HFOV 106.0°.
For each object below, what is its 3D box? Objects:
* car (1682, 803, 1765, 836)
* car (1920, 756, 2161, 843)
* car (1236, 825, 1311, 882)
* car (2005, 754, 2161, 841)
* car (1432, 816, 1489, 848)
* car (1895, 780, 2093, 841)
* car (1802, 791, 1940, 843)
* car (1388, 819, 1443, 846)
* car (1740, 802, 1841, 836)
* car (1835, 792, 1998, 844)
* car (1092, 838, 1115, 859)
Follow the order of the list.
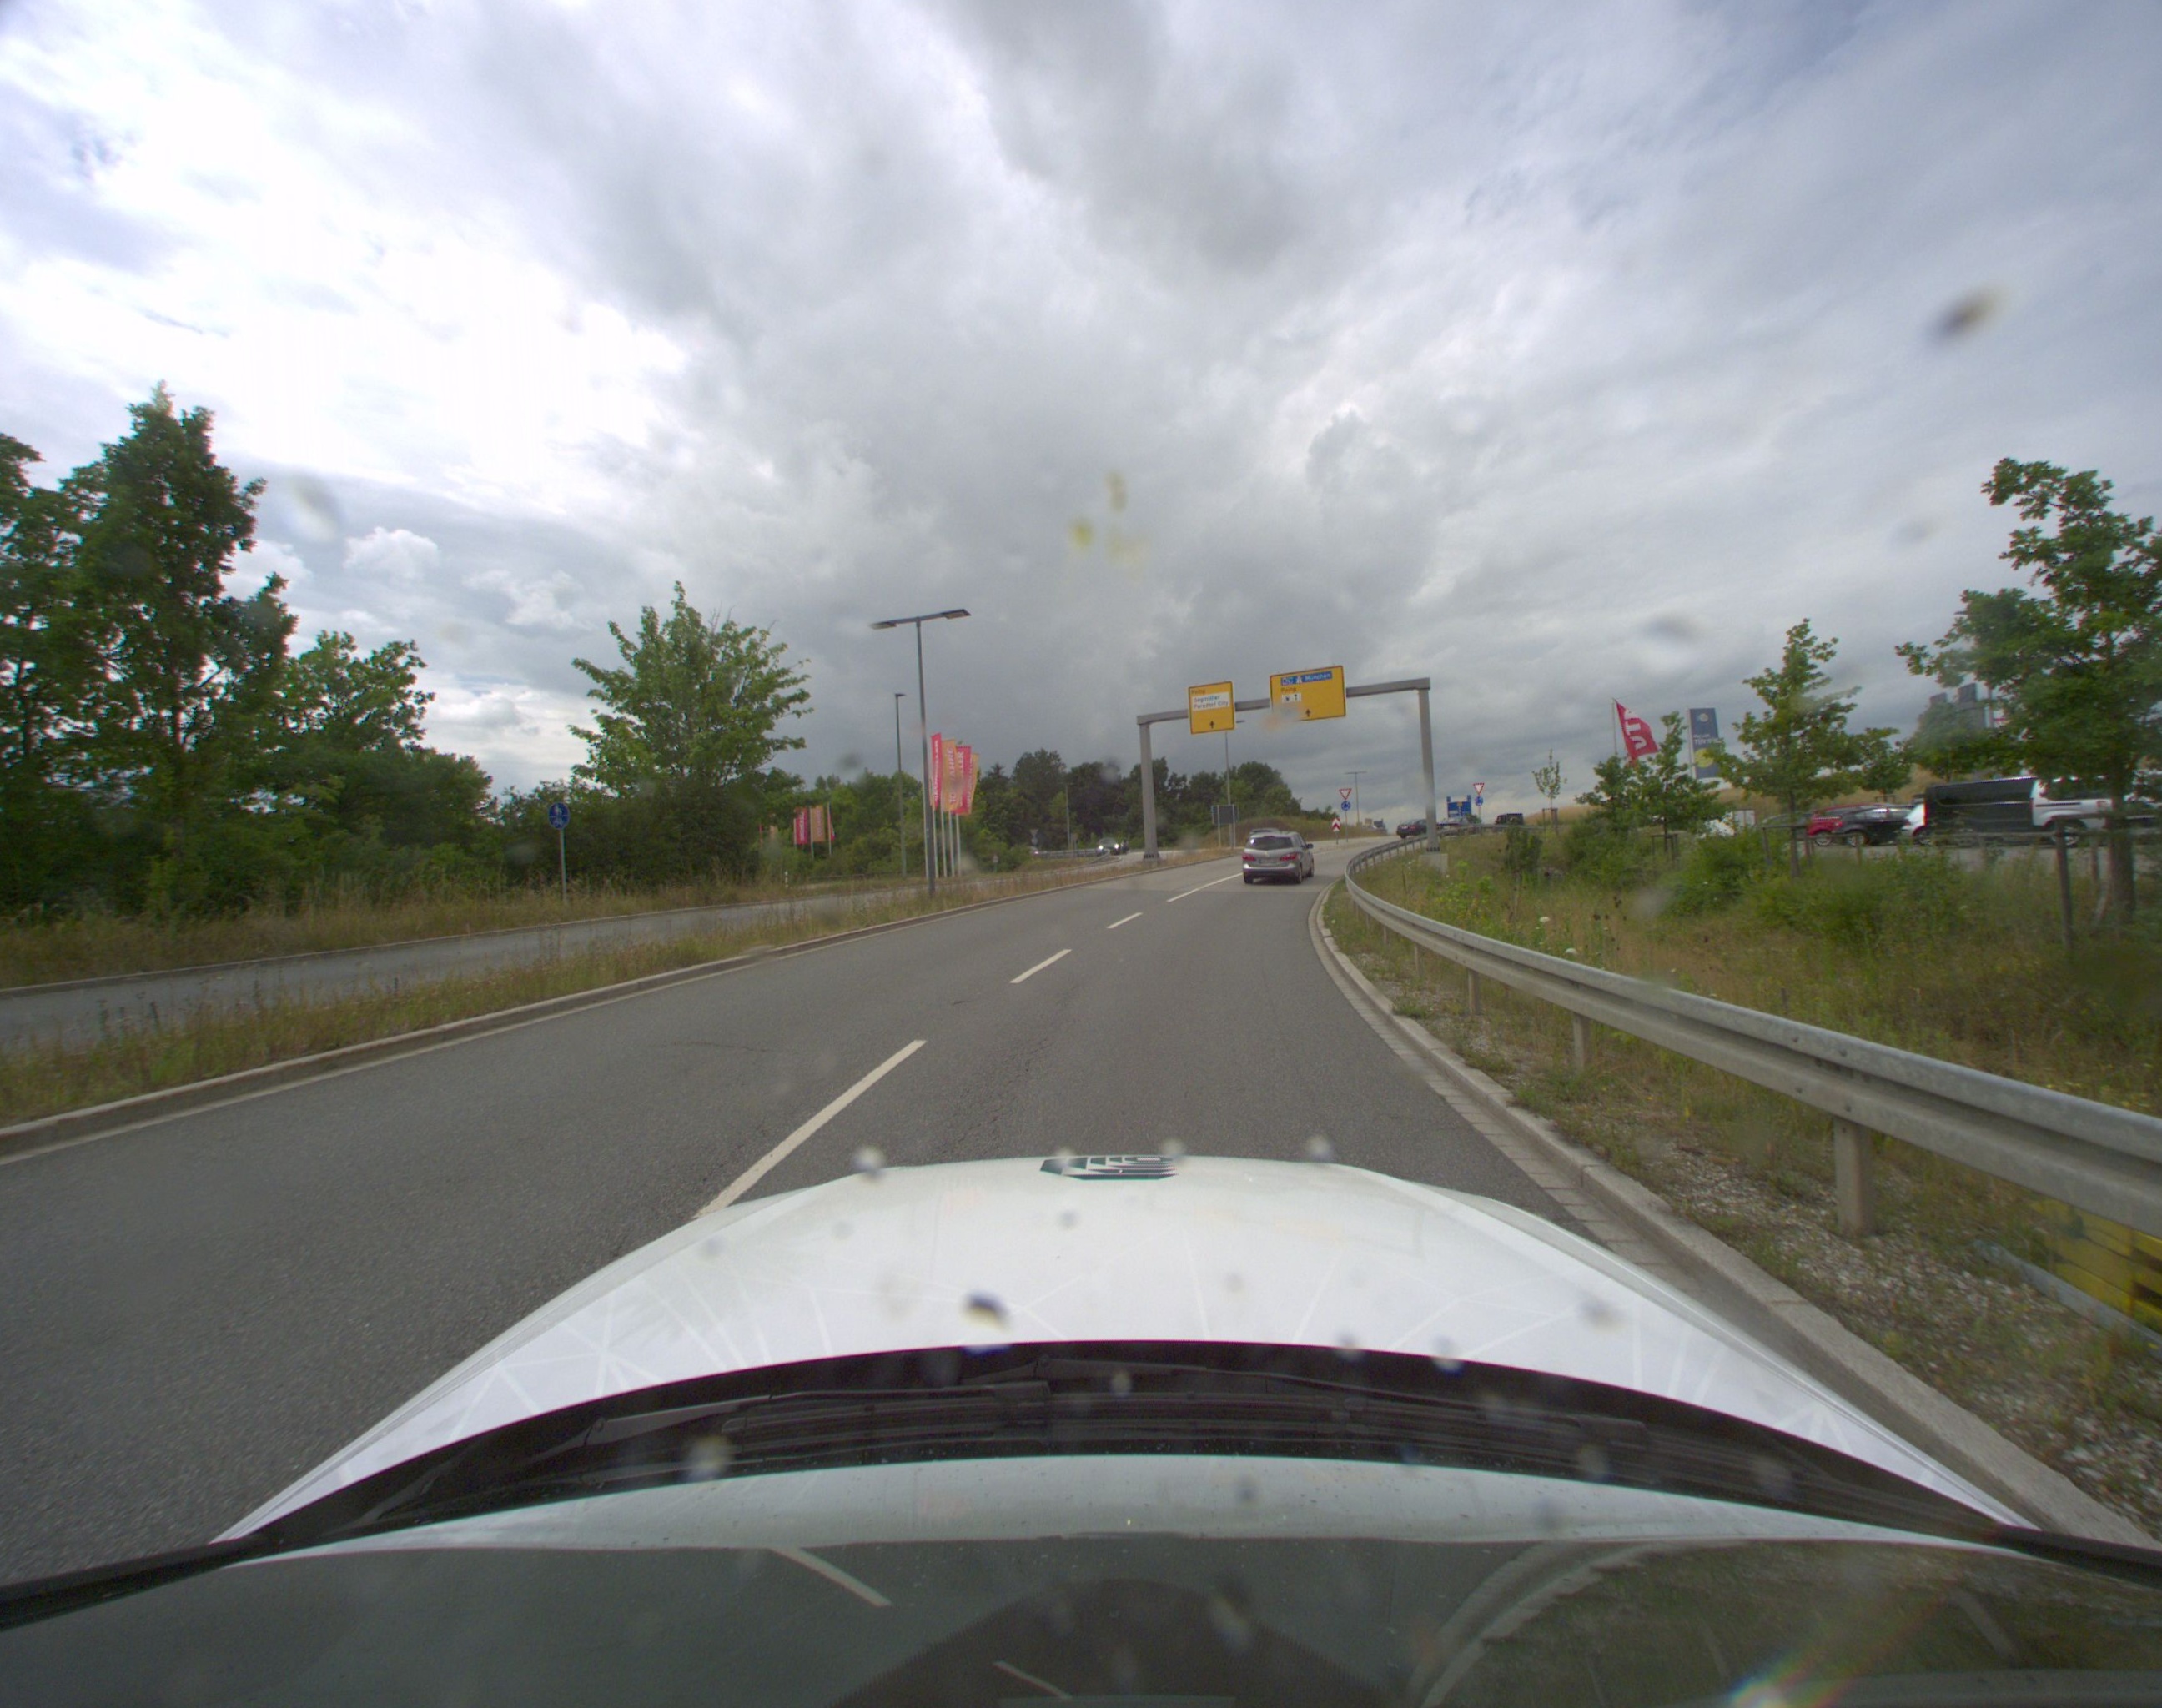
[{"bbox_3d":[36.926,-1.962,46.907,1.640,1.625,3.572,-3,0,-8],"label":"car"},{"bbox_3d":[26.718,-1.448,22.751,1.884,1.950,4.095,-3,-2,-24],"label":"car"},{"bbox_3d":[6.281,-0.064,26.242,1.752,1.616,3.943,-2,1,21],"label":"car"},{"bbox_3d":[25.601,-1.424,19.546,1.838,1.842,4.153,-4,-1,-29],"label":"car"},{"bbox_3d":[24.193,-1.420,51.895,3.978,1.837,1.639,-4,0,-39],"label":"car"},{"bbox_3d":[28.282,-1.306,25.368,1.596,1.442,3.728,-4,-1,-25],"label":"car"},{"bbox_3d":[30.579,-1.403,31.628,1.554,1.624,3.431,-4,-1,-26],"label":"car"},{"bbox_3d":[24.990,-1.627,60.798,4.177,1.783,1.880,-4,0,-38],"label":"car"},{"bbox_3d":[37.016,-1.803,42.606,3.629,1.483,1.512,-3,-2,24],"label":"car"},{"bbox_3d":[29.274,-1.237,28.659,1.618,1.420,3.606,-4,-1,-26],"label":"car"},{"bbox_3d":[1.956,-0.446,71.532,1.847,1.665,4.163,-2,0,1],"label":"car"}]
